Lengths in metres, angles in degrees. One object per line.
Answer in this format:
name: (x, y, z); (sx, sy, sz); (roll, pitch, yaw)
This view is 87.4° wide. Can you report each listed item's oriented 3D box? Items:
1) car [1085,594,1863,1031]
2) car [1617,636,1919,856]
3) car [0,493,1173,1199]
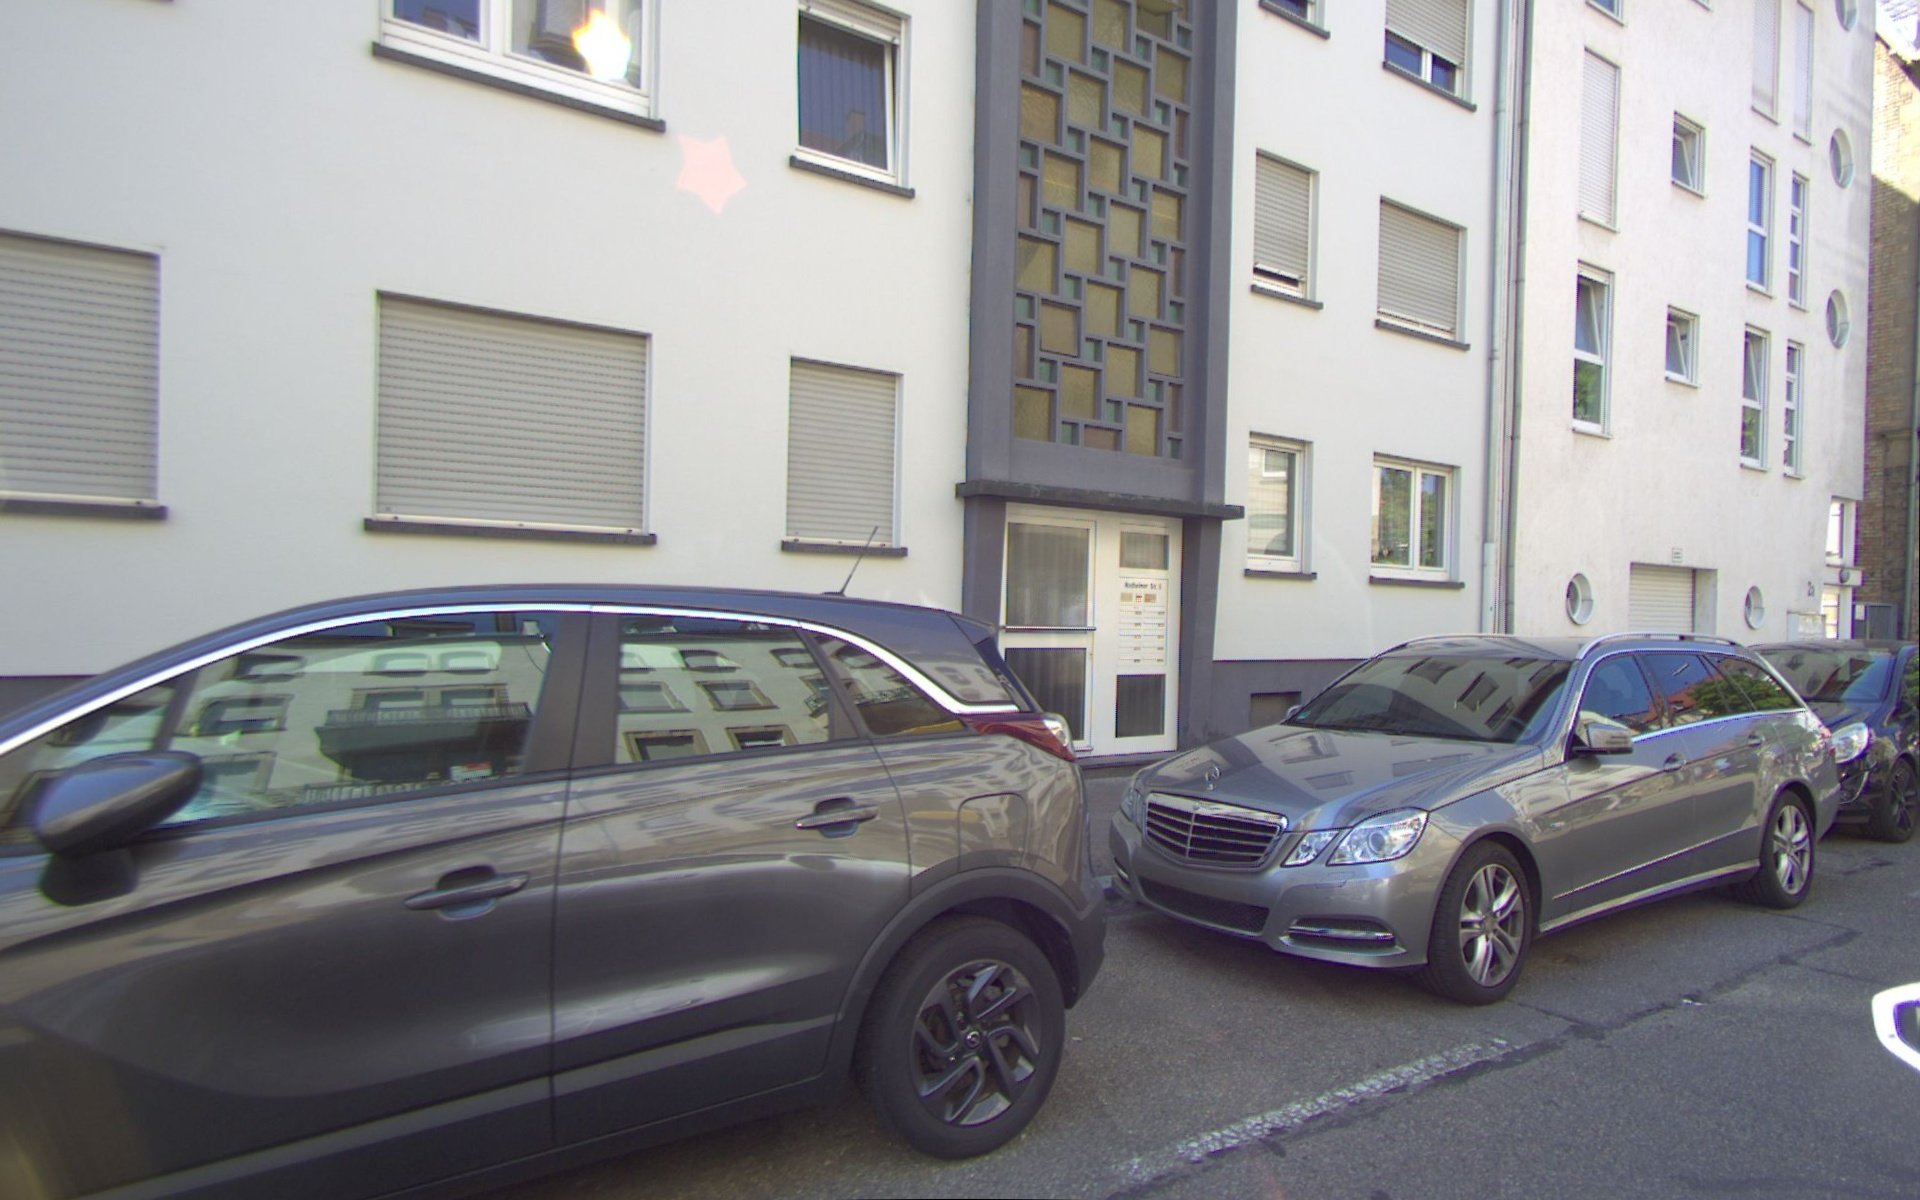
car: (3.001, 0.839, 5.489); (4.619, 1.538, 1.648); (2, -3, -32)
car: (7.455, 1.088, 8.632); (3.850, 1.511, 1.559); (2, -3, -32)
car: (-1.418, 0.696, 2.750); (3.933, 1.665, 1.595); (2, -2, -32)
